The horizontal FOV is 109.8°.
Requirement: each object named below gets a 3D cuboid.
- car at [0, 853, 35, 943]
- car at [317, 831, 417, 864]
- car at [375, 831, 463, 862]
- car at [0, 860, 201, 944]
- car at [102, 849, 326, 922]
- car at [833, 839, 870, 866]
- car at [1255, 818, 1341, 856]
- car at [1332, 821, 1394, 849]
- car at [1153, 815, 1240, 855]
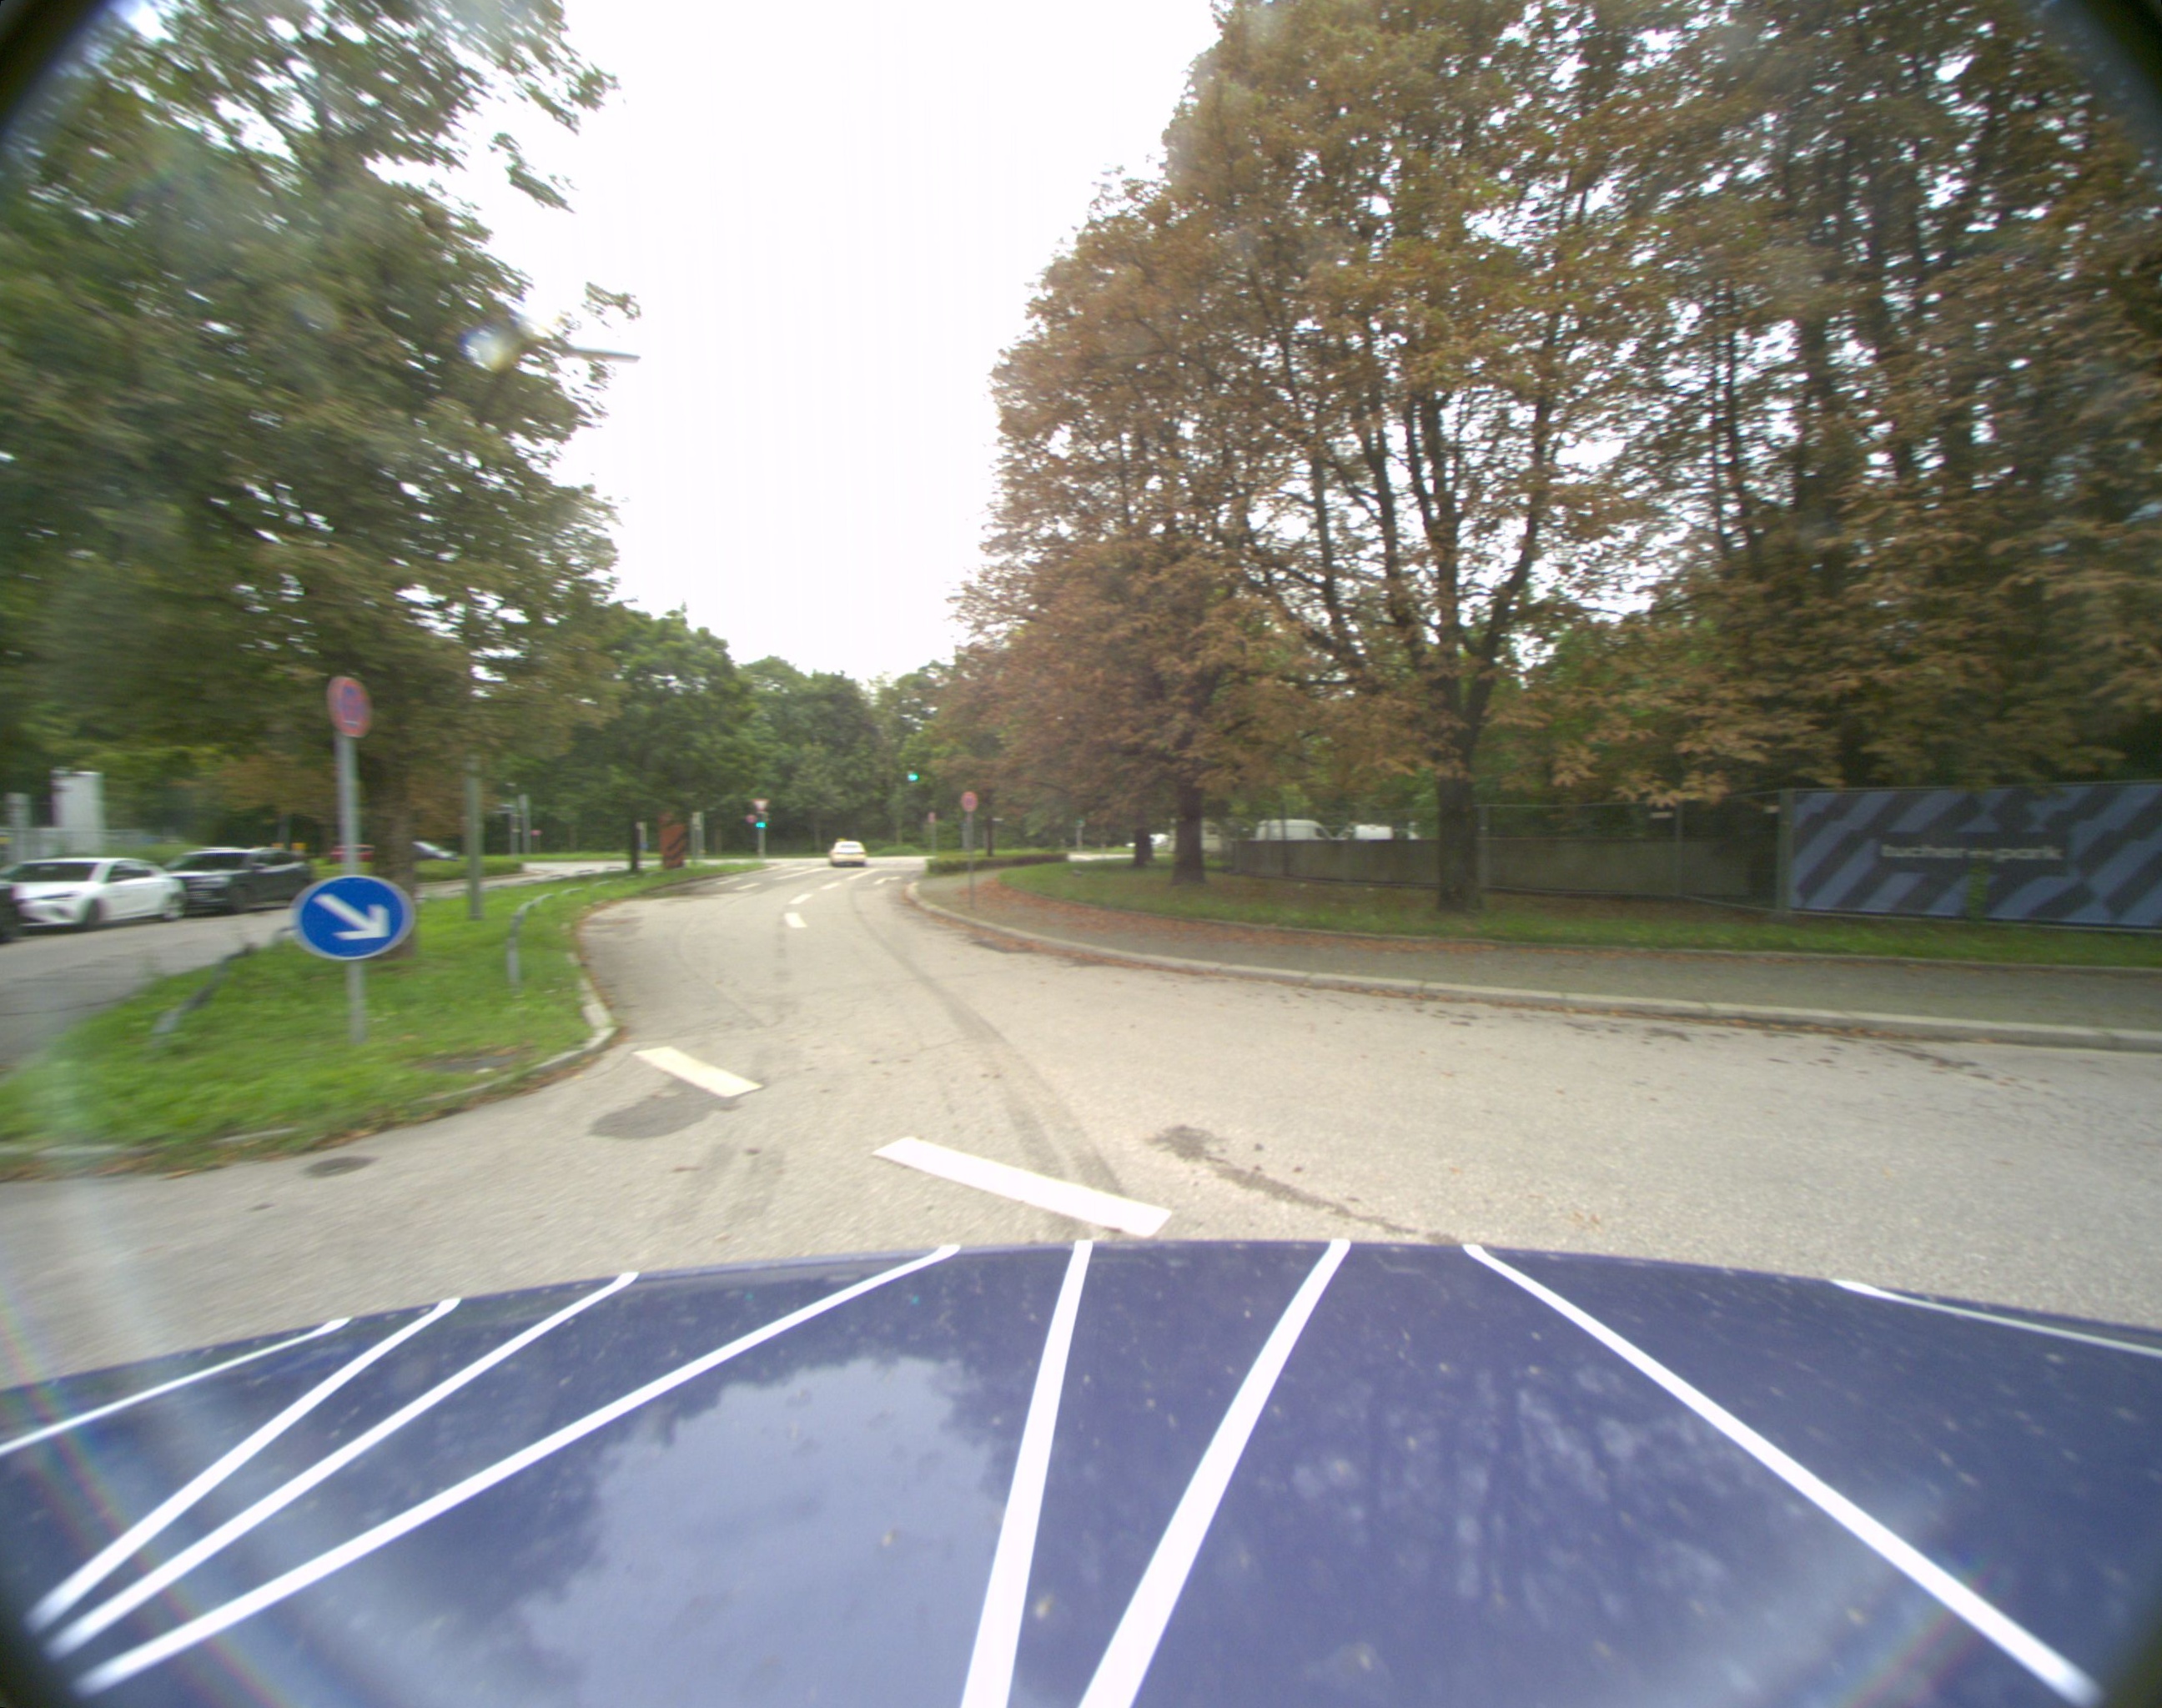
[{"bbox_3d":[-17.669,0.744,10.808,1.843,1.452,3.995,-2,1,-32],"label":"car"},{"bbox_3d":[-45.513,-0.443,48.542,4.159,2.002,1.997,-1,1,-13],"label":"car"},{"bbox_3d":[-45.031,-0.526,51.802,4.001,2.002,1.997,-1,1,-13],"label":"car"},{"bbox_3d":[-20.053,0.870,15.201,1.804,1.376,4.208,-2,1,-29],"label":"car"},{"bbox_3d":[-21.842,0.733,19.455,1.893,1.596,4.389,-2,0,-21],"label":"car"},{"bbox_3d":[-13.658,-0.130,45.029,1.895,1.536,4.844,-1,1,-19],"label":"car"},{"bbox_3d":[15.332,-1.223,53.882,5.457,2.566,2.075,-1,2,-7],"label":"car"},{"bbox_3d":[26.884,-1.820,72.592,5.135,2.566,2.075,-1,2,-7],"label":"car"},{"bbox_3d":[7.966,-1.316,52.684,5.596,2.719,2.075,-1,2,-7],"label":"car"}]
